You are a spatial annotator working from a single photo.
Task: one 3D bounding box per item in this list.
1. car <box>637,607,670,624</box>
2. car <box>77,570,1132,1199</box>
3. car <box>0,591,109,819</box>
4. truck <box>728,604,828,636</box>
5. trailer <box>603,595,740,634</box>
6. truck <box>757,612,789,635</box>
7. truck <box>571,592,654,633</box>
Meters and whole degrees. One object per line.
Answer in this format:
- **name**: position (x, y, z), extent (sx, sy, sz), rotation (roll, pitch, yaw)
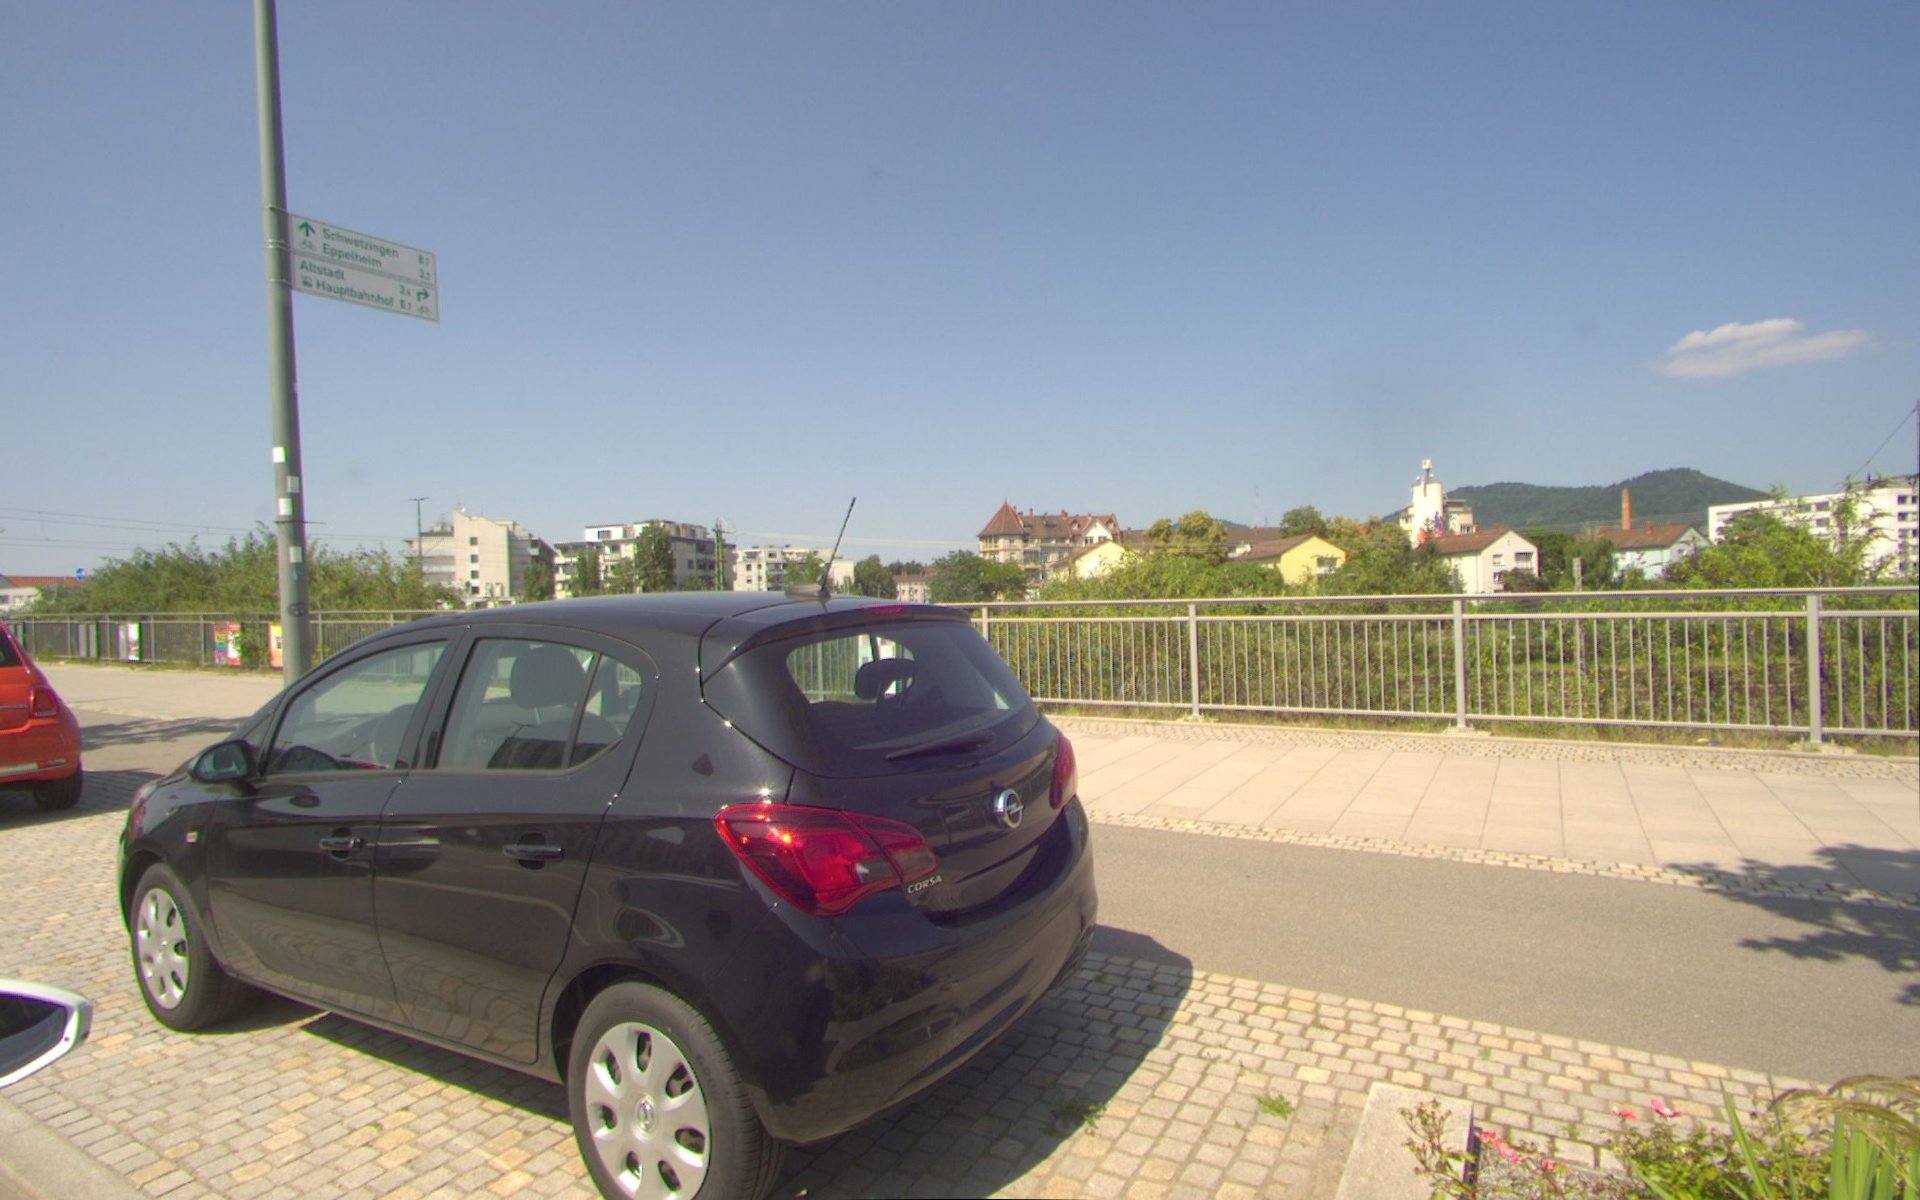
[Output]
- **car**: position (-32.694, 1.647, 106.842), extent (1.767, 1.661, 3.516), rotation (-1, -2, 15)
- **car**: position (-1.348, 0.739, 3.482), extent (3.495, 1.577, 1.577), rotation (-1, 2, 32)
- **car**: position (-8.344, 0.785, 7.783), extent (3.864, 1.560, 1.664), rotation (-2, 1, 35)
- **truck**: position (-20.623, 2.429, 115.642), extent (3.674, 3.243, 17.876), rotation (-1, -3, 17)
- **trailer**: position (-26.718, 1.543, 94.555), extent (3.674, 3.243, 17.244), rotation (-1, -3, 17)
- **truck**: position (-25.169, 3.237, 134.962), extent (2.078, 2.919, 5.873), rotation (-1, -2, 12)
- **truck**: position (-29.536, 1.168, 85.446), extent (3.672, 3.244, 6.485), rotation (-1, -2, 17)
